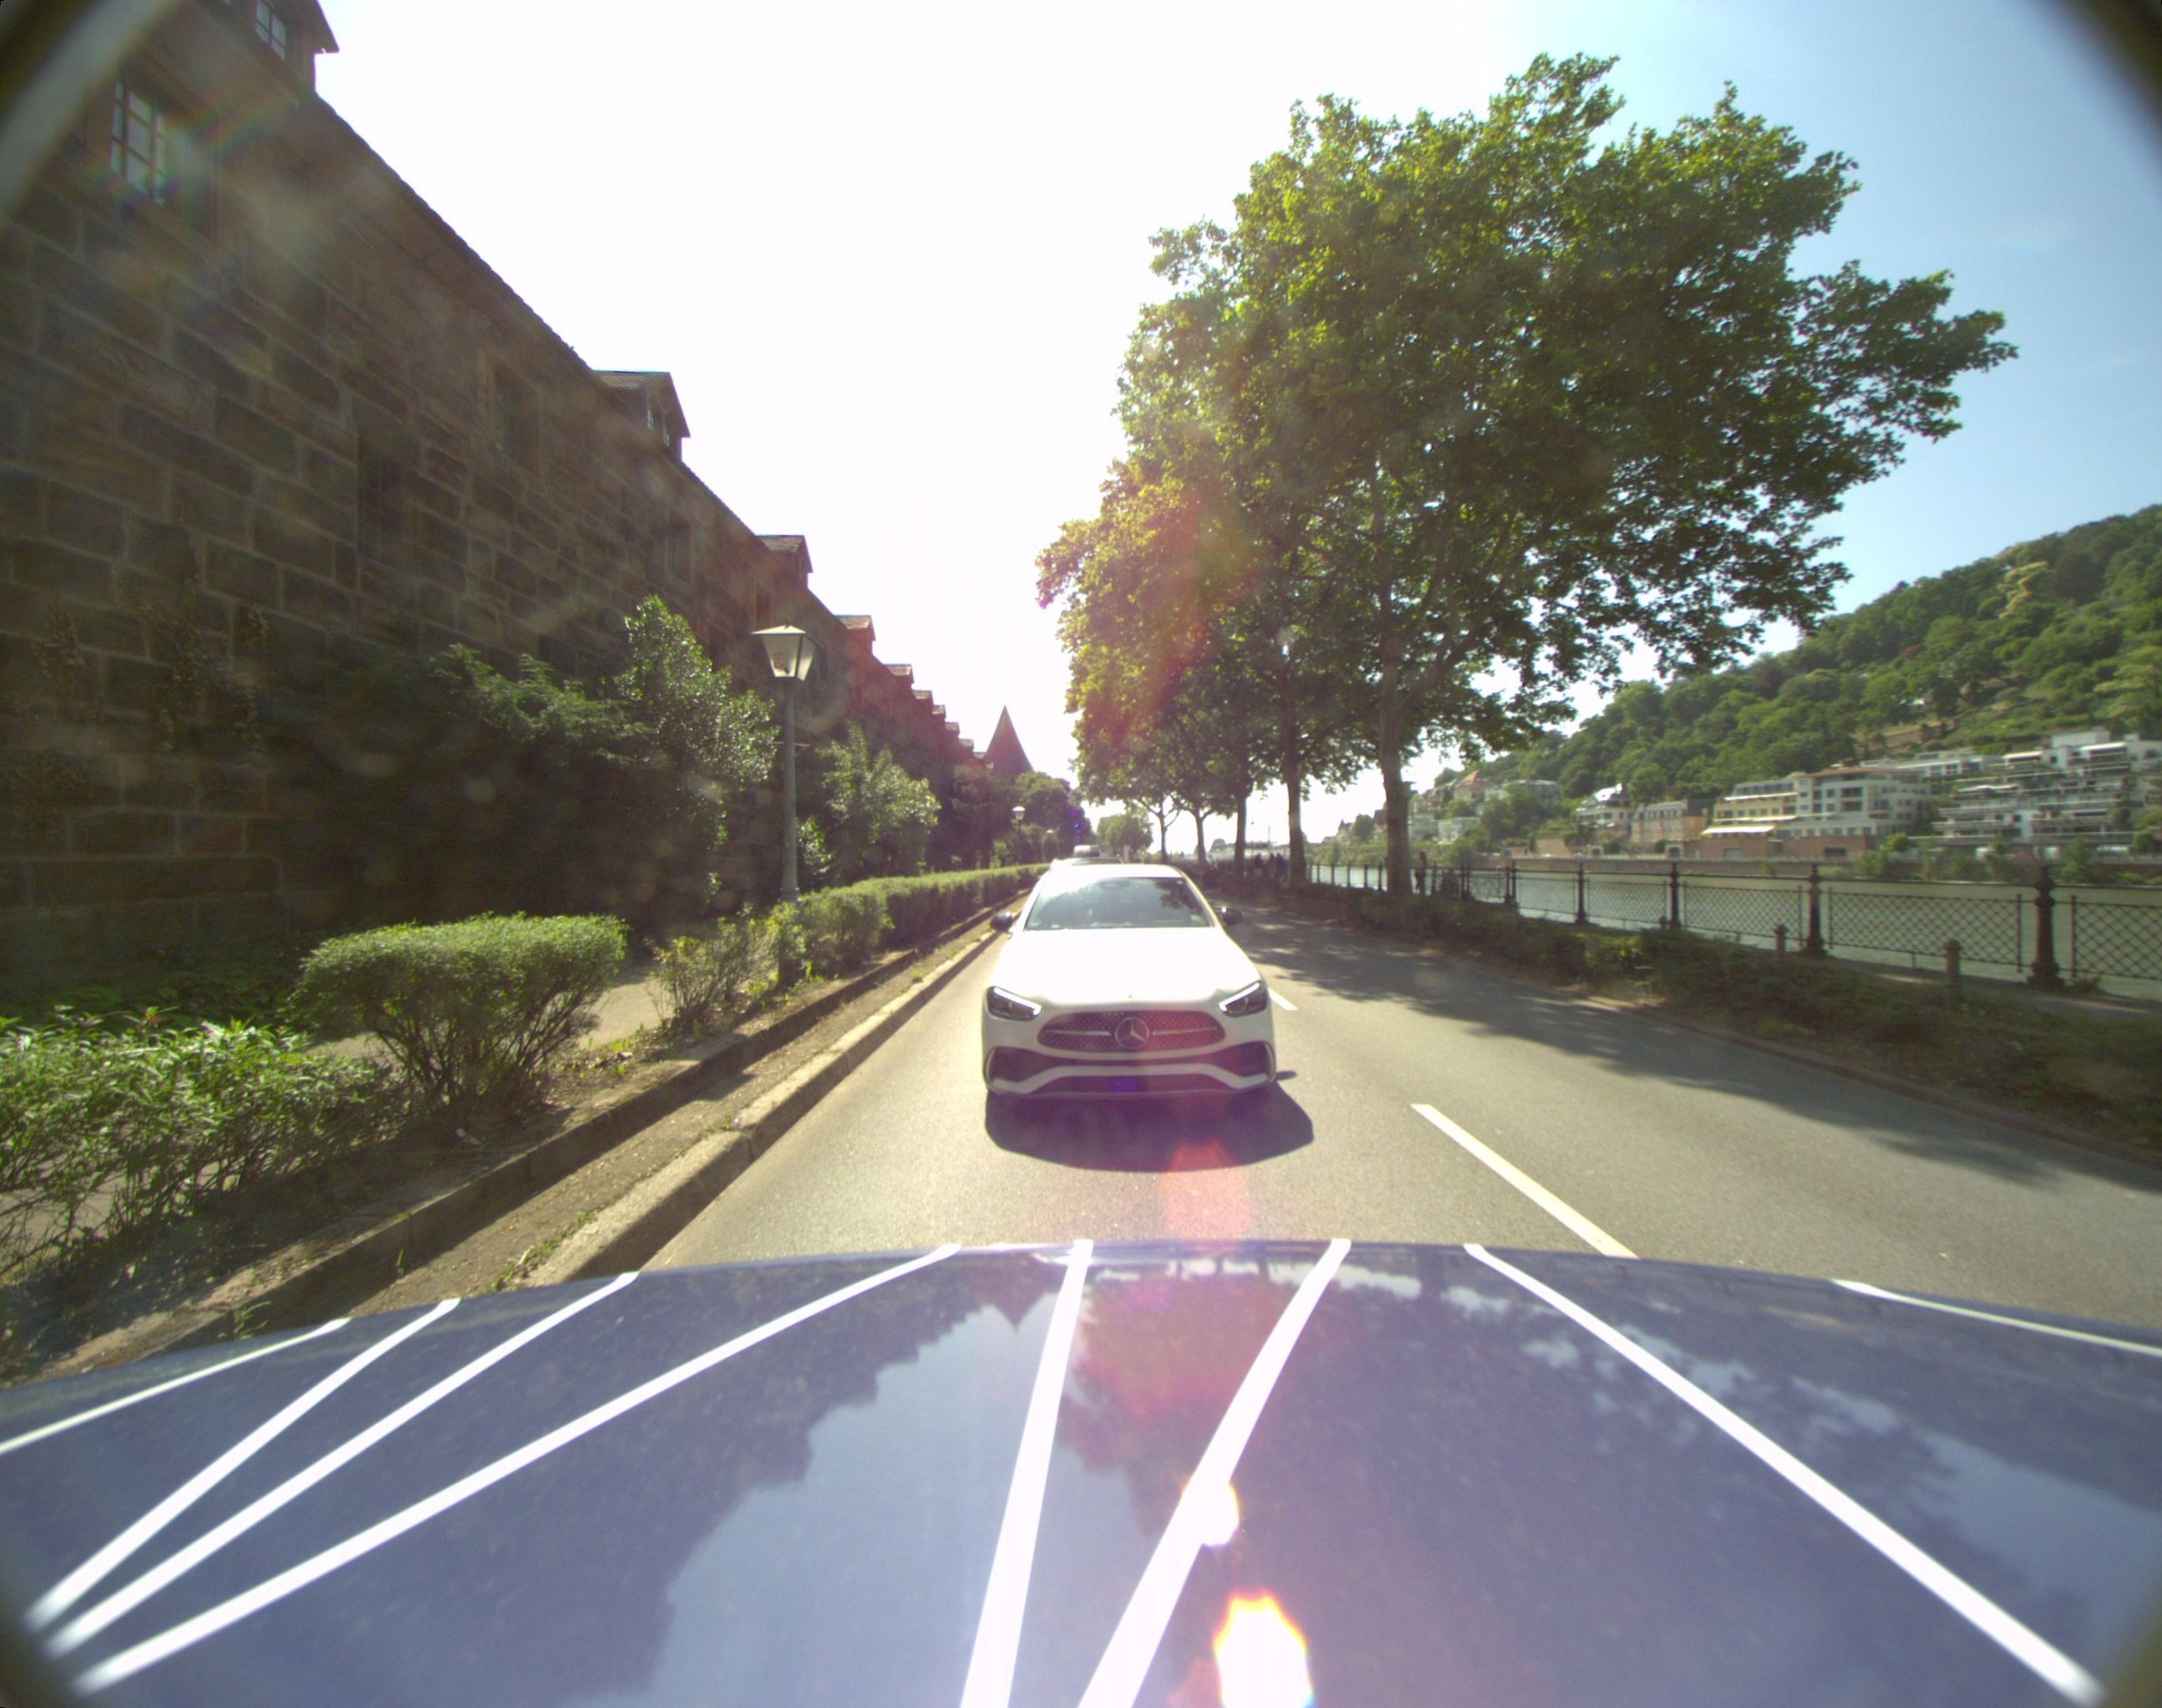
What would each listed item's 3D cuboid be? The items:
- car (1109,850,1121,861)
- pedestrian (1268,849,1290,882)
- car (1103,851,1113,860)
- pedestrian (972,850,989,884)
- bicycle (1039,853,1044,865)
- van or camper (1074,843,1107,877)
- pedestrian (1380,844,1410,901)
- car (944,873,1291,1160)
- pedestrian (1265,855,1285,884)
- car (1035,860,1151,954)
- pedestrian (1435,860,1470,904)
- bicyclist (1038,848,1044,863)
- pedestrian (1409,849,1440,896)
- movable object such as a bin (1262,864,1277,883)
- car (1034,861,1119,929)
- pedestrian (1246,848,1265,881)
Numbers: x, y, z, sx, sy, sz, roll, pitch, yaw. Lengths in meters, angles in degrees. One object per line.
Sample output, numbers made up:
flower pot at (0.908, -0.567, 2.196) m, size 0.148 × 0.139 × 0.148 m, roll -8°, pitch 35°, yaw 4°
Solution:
car at (6.472, 0.268, 144.796) m, size 2.165 × 2.002 × 4.000 m, roll -2°, pitch 1°, yaw 1°
pedestrian at (12.202, 0.692, 46.799) m, size 1.047 × 2.002 × 1.036 m, roll -1°, pitch 1°, yaw 31°
car at (6.791, 0.401, 190.999) m, size 2.165 × 2.002 × 4.000 m, roll -2°, pitch 1°, yaw 1°
pedestrian at (-4.724, 0.594, 35.754) m, size 0.643 × 1.555 × 0.563 m, roll -2°, pitch 1°, yaw 1°
bicycle at (-4.202, 0.542, 80.830) m, size 0.406 × 1.169 × 1.576 m, roll -2°, pitch 1°, yaw -2°
van or camper at (0.670, 0.401, 56.421) m, size 2.313 × 2.358 × 5.035 m, roll 1°, pitch 0°, yaw 0°
pedestrian at (10.615, 0.602, 25.700) m, size 0.767 × 1.889 × 0.771 m, roll 1°, pitch 1°, yaw 8°
car at (0.224, 0.933, 6.245) m, size 1.833 × 1.395 × 4.270 m, roll -2°, pitch 0°, yaw 1°
pedestrian at (11.153, 0.887, 43.752) m, size 0.897 × 1.625 × 1.059 m, roll -2°, pitch 1°, yaw 6°
car at (0.227, 0.878, 14.441) m, size 1.833 × 1.428 × 4.270 m, roll -2°, pitch 0°, yaw 1°
pedestrian at (12.059, 0.907, 24.686) m, size 0.768 × 1.379 × 0.770 m, roll 1°, pitch 0°, yaw 0°
bicyclist at (-4.231, 0.149, 80.884) m, size 0.550 × 1.513 × 0.583 m, roll -2°, pitch 1°, yaw -1°
pedestrian at (12.898, 0.686, 28.541) m, size 0.777 × 1.748 × 0.830 m, roll 1°, pitch 1°, yaw 0°
movable object such as a bin at (11.130, 1.150, 44.827) m, size 0.703 × 1.043 × 0.783 m, roll -2°, pitch 1°, yaw 4°
car at (-0.074, 0.937, 19.110) m, size 1.833 × 1.395 × 4.424 m, roll -2°, pitch 0°, yaw 1°
pedestrian at (10.033, 0.605, 43.649) m, size 0.806 × 1.839 × 0.929 m, roll -2°, pitch 1°, yaw 1°
